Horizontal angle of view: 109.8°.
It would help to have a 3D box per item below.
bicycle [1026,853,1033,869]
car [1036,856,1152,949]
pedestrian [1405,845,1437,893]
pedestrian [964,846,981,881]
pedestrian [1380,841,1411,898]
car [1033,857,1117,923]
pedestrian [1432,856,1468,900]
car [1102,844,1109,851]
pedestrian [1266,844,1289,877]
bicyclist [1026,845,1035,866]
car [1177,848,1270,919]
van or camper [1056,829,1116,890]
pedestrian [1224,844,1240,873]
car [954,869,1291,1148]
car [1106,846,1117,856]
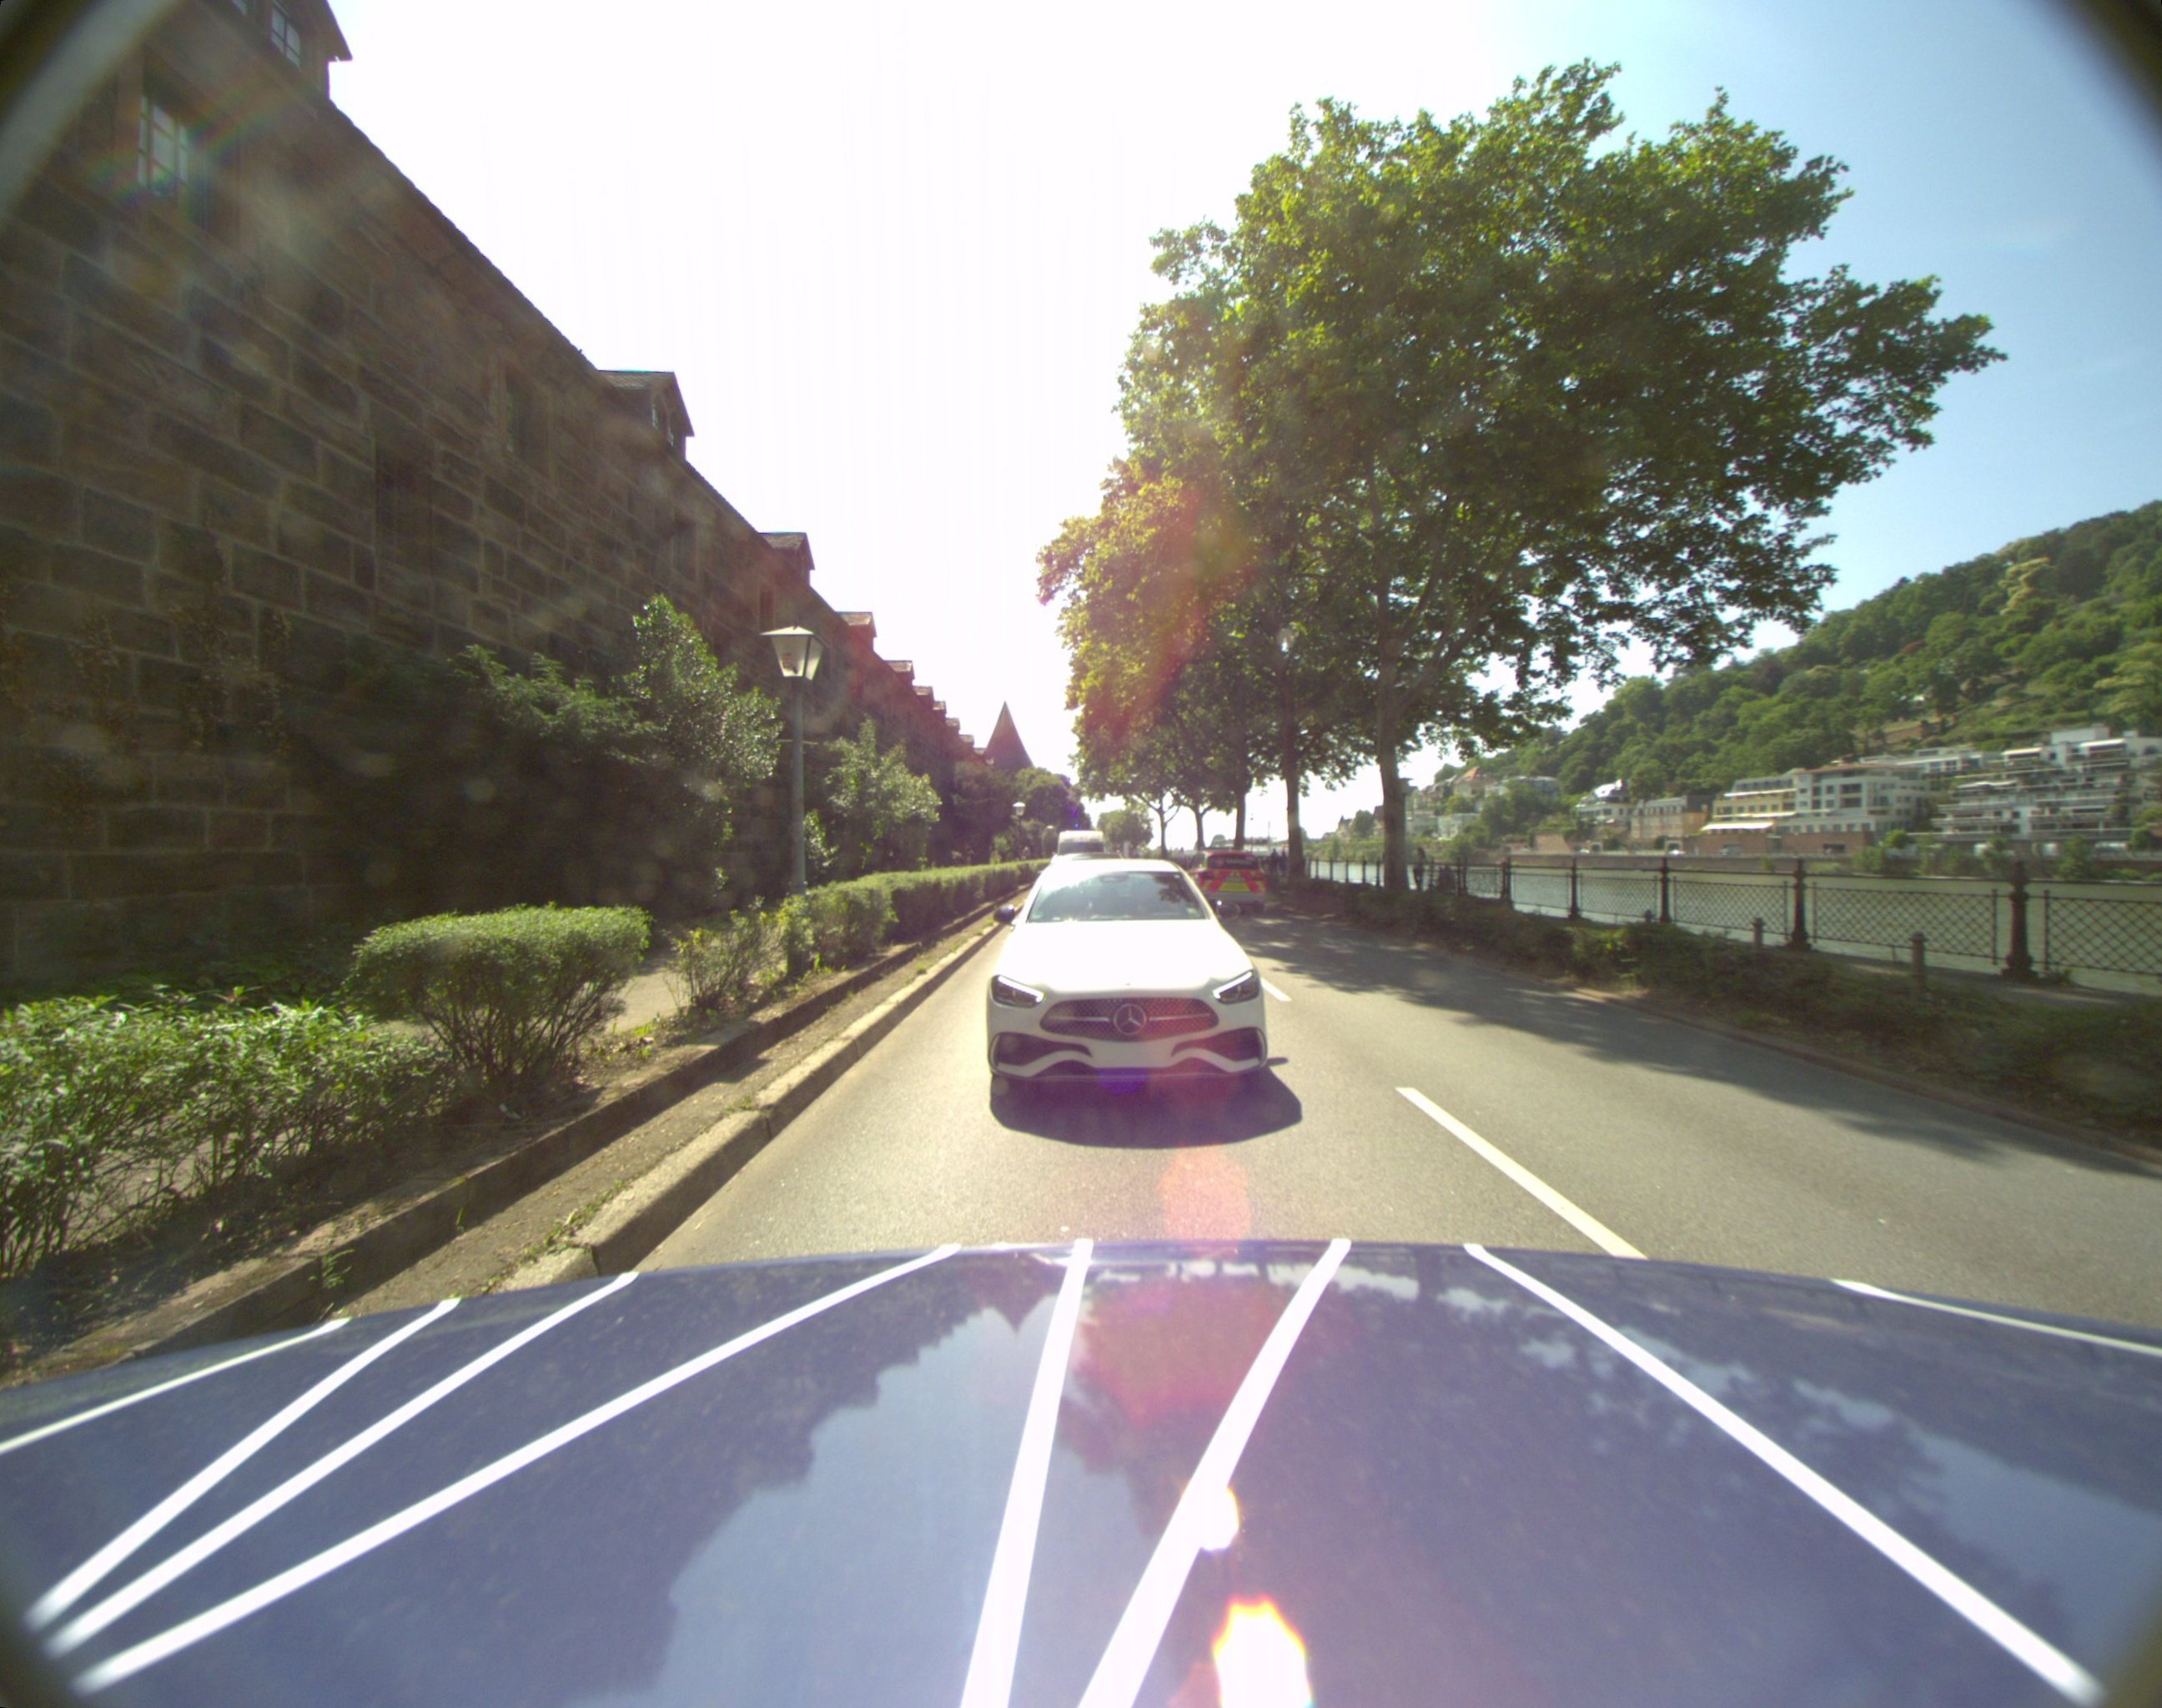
[{"bbox_3d":[-3.813,0.505,56.638,0.406,1.169,1.576,-2,1,-2],"label":"bicycle"},{"bbox_3d":[0.233,0.793,14.445,1.833,1.428,4.270,-2,0,1],"label":"car"},{"bbox_3d":[12.806,0.562,28.661,0.777,1.748,0.830,1,1,0],"label":"pedestrian"},{"bbox_3d":[-4.901,0.422,34.300,0.643,1.555,0.563,-2,2,1],"label":"pedestrian"},{"bbox_3d":[10.682,0.524,25.803,0.767,1.890,0.771,1,1,8],"label":"pedestrian"},{"bbox_3d":[-0.103,0.815,19.327,1.833,1.395,4.423,-2,0,1],"label":"car"},{"bbox_3d":[12.031,0.771,24.809,0.768,1.379,0.770,1,1,0],"label":"pedestrian"},{"bbox_3d":[7.341,-2.036,227.169,2.165,2.002,3.999,-2,1,1],"label":"car"},{"bbox_3d":[12.221,0.426,47.216,1.047,2.002,1.036,-1,2,31],"label":"pedestrian"},{"bbox_3d":[-3.790,0.108,56.798,0.550,1.514,0.583,-2,2,-1],"label":"bicyclist"},{"bbox_3d":[3.725,0.704,20.584,1.677,1.650,4.222,2,0,0],"label":"car"},{"bbox_3d":[0.188,0.220,32.389,2.313,2.358,5.034,1,0,0],"label":"van or camper"},{"bbox_3d":[9.715,0.296,48.871,0.806,1.839,0.929,-2,2,1],"label":"pedestrian"},{"bbox_3d":[0.260,0.905,6.370,1.833,1.395,4.270,-2,0,1],"label":"car"},{"bbox_3d":[6.526,-0.679,163.420,2.165,2.002,3.999,-2,1,1],"label":"car"}]
